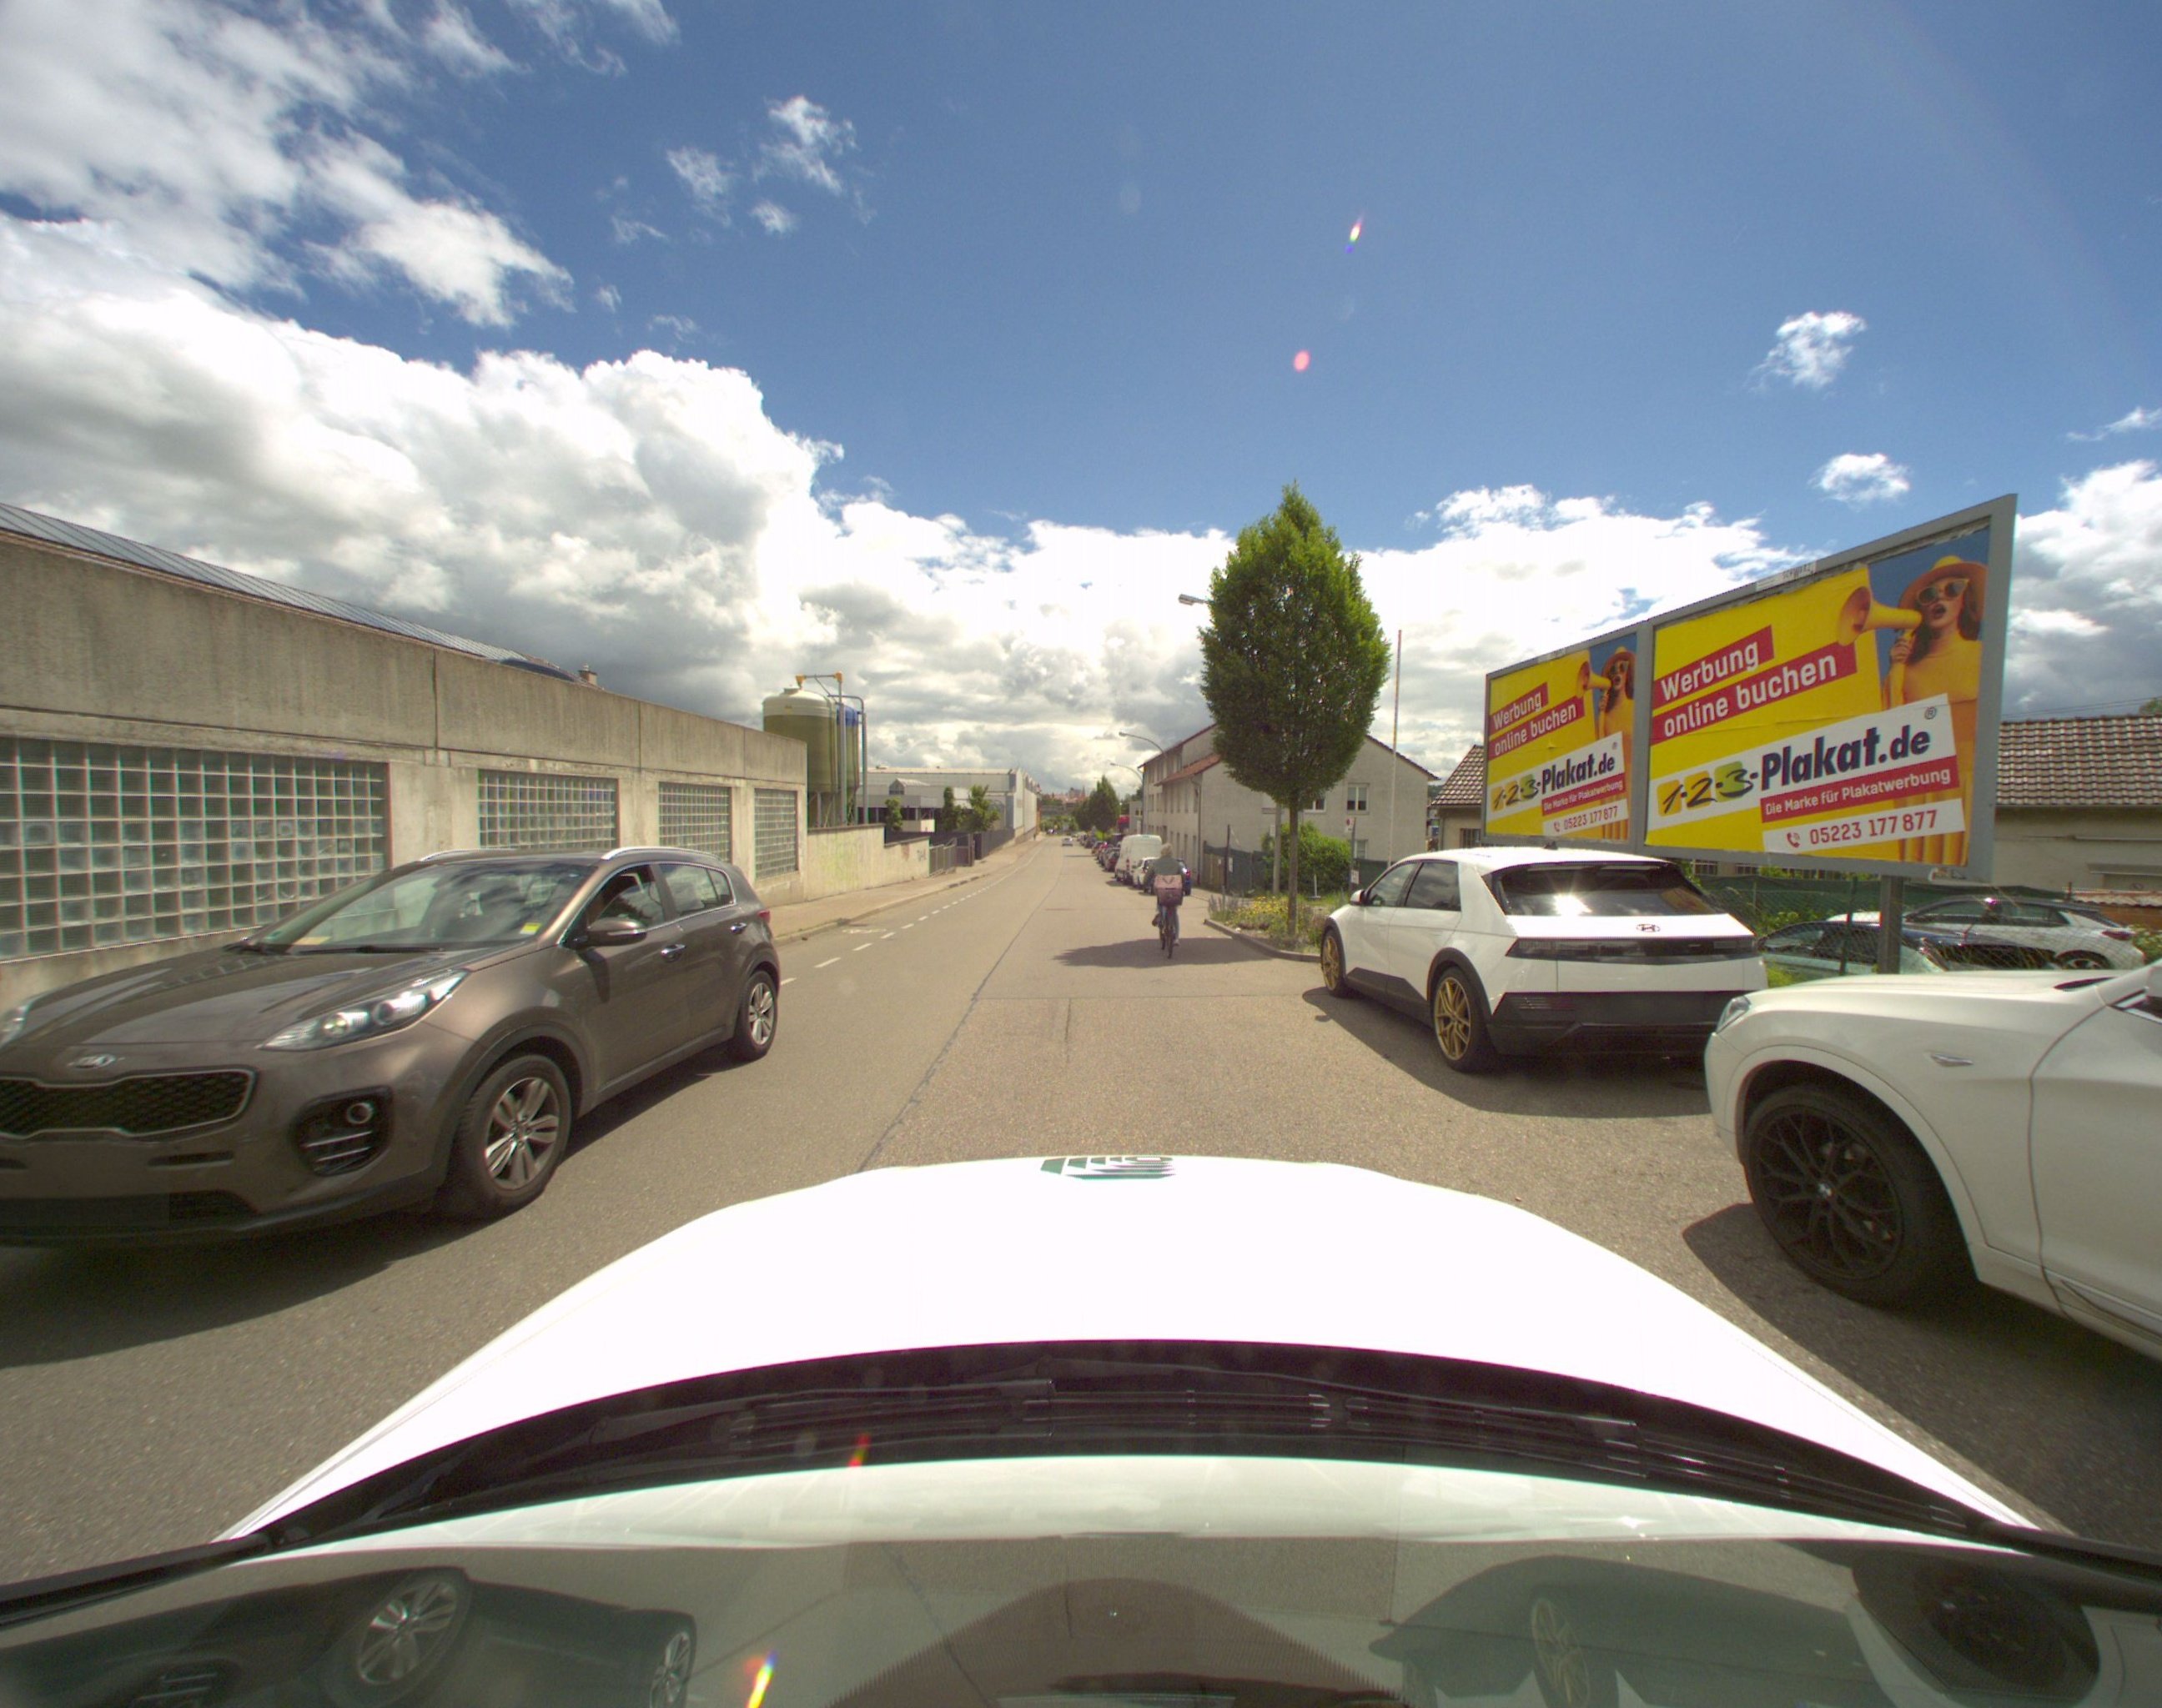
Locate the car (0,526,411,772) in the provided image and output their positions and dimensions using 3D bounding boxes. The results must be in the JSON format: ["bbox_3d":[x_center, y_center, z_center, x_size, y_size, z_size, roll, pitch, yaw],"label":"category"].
[{"bbox_3d":[-9.910,-1.931,8.864,1.800,1.636,4.104,0,0,0],"label":"car"}]

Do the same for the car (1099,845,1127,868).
[{"bbox_3d":[2.575,0.158,66.773,1.674,1.637,4.789,2,2,-5],"label":"car"}]

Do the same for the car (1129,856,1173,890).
[{"bbox_3d":[3.276,0.864,38.739,1.589,1.510,3.786,1,0,-3],"label":"car"}]

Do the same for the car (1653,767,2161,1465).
[{"bbox_3d":[3.413,0.619,1.409,1.680,1.659,4.478,0,0,-1],"label":"car"}]

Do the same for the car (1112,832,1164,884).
[{"bbox_3d":[3.020,0.220,44.875,2.028,2.641,7.275,1,0,-3],"label":"car"}]

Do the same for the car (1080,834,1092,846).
[{"bbox_3d":[0.778,-2.351,136.519,1.864,1.990,5.141,1,1,-2],"label":"car"}]

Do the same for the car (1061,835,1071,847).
[{"bbox_3d":[-2.411,-2.122,133.515,1.563,1.786,3.603,1,0,-2],"label":"car"}]

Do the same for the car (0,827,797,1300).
[{"bbox_3d":[-3.355,0.732,4.877,1.793,1.622,4.093,-1,0,1],"label":"car"}]

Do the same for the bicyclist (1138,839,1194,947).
[{"bbox_3d":[1.320,0.595,12.757,0.738,1.626,0.730,1,-1,-4],"label":"bicyclist"}]

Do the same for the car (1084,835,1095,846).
[{"bbox_3d":[1.227,-2.059,121.758,1.674,1.638,4.123,1,1,0],"label":"car"}]

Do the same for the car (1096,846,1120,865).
[{"bbox_3d":[2.377,0.085,72.352,1.730,1.423,4.857,1,2,-2],"label":"car"}]

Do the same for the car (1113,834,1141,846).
[{"bbox_3d":[6.510,-1.977,115.425,1.734,1.462,4.027,-4,2,-40],"label":"car"}]

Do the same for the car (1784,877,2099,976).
[{"bbox_3d":[16.386,1.277,15.745,1.753,1.390,3.996,-1,2,-41],"label":"car"}]

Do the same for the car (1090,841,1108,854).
[{"bbox_3d":[2.100,-0.732,95.186,1.787,1.465,4.704,0,1,-3],"label":"car"}]

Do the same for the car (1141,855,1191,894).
[{"bbox_3d":[3.476,0.828,33.898,1.563,1.510,4.091,1,0,-2],"label":"car"}]

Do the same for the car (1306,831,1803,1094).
[{"bbox_3d":[3.504,0.675,7.207,1.835,1.565,4.466,-1,0,1],"label":"car"}]

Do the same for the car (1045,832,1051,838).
[{"bbox_3d":[-10.059,-5.742,247.292,1.848,1.486,3.997,1,0,-2],"label":"car"}]

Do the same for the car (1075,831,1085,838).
[{"bbox_3d":[-0.212,-4.324,180.638,1.698,1.527,3.732,3,1,-5],"label":"car"}]

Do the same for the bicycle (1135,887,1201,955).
[{"bbox_3d":[1.322,1.013,12.683,0.738,0.975,1.730,1,-2,-4],"label":"bicycle"}]

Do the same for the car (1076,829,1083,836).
[{"bbox_3d":[-0.348,-4.993,191.482,1.695,1.527,3.738,1,1,0],"label":"car"}]

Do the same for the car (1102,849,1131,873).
[{"bbox_3d":[2.605,0.495,61.196,1.700,1.509,5.084,2,2,-2],"label":"car"}]

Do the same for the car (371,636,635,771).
[{"bbox_3d":[-10.082,-2.543,14.685,1.800,1.636,4.104,0,0,0],"label":"car"}]

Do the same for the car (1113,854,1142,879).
[{"bbox_3d":[2.877,0.770,51.089,1.588,1.447,3.789,1,1,-1],"label":"car"}]
